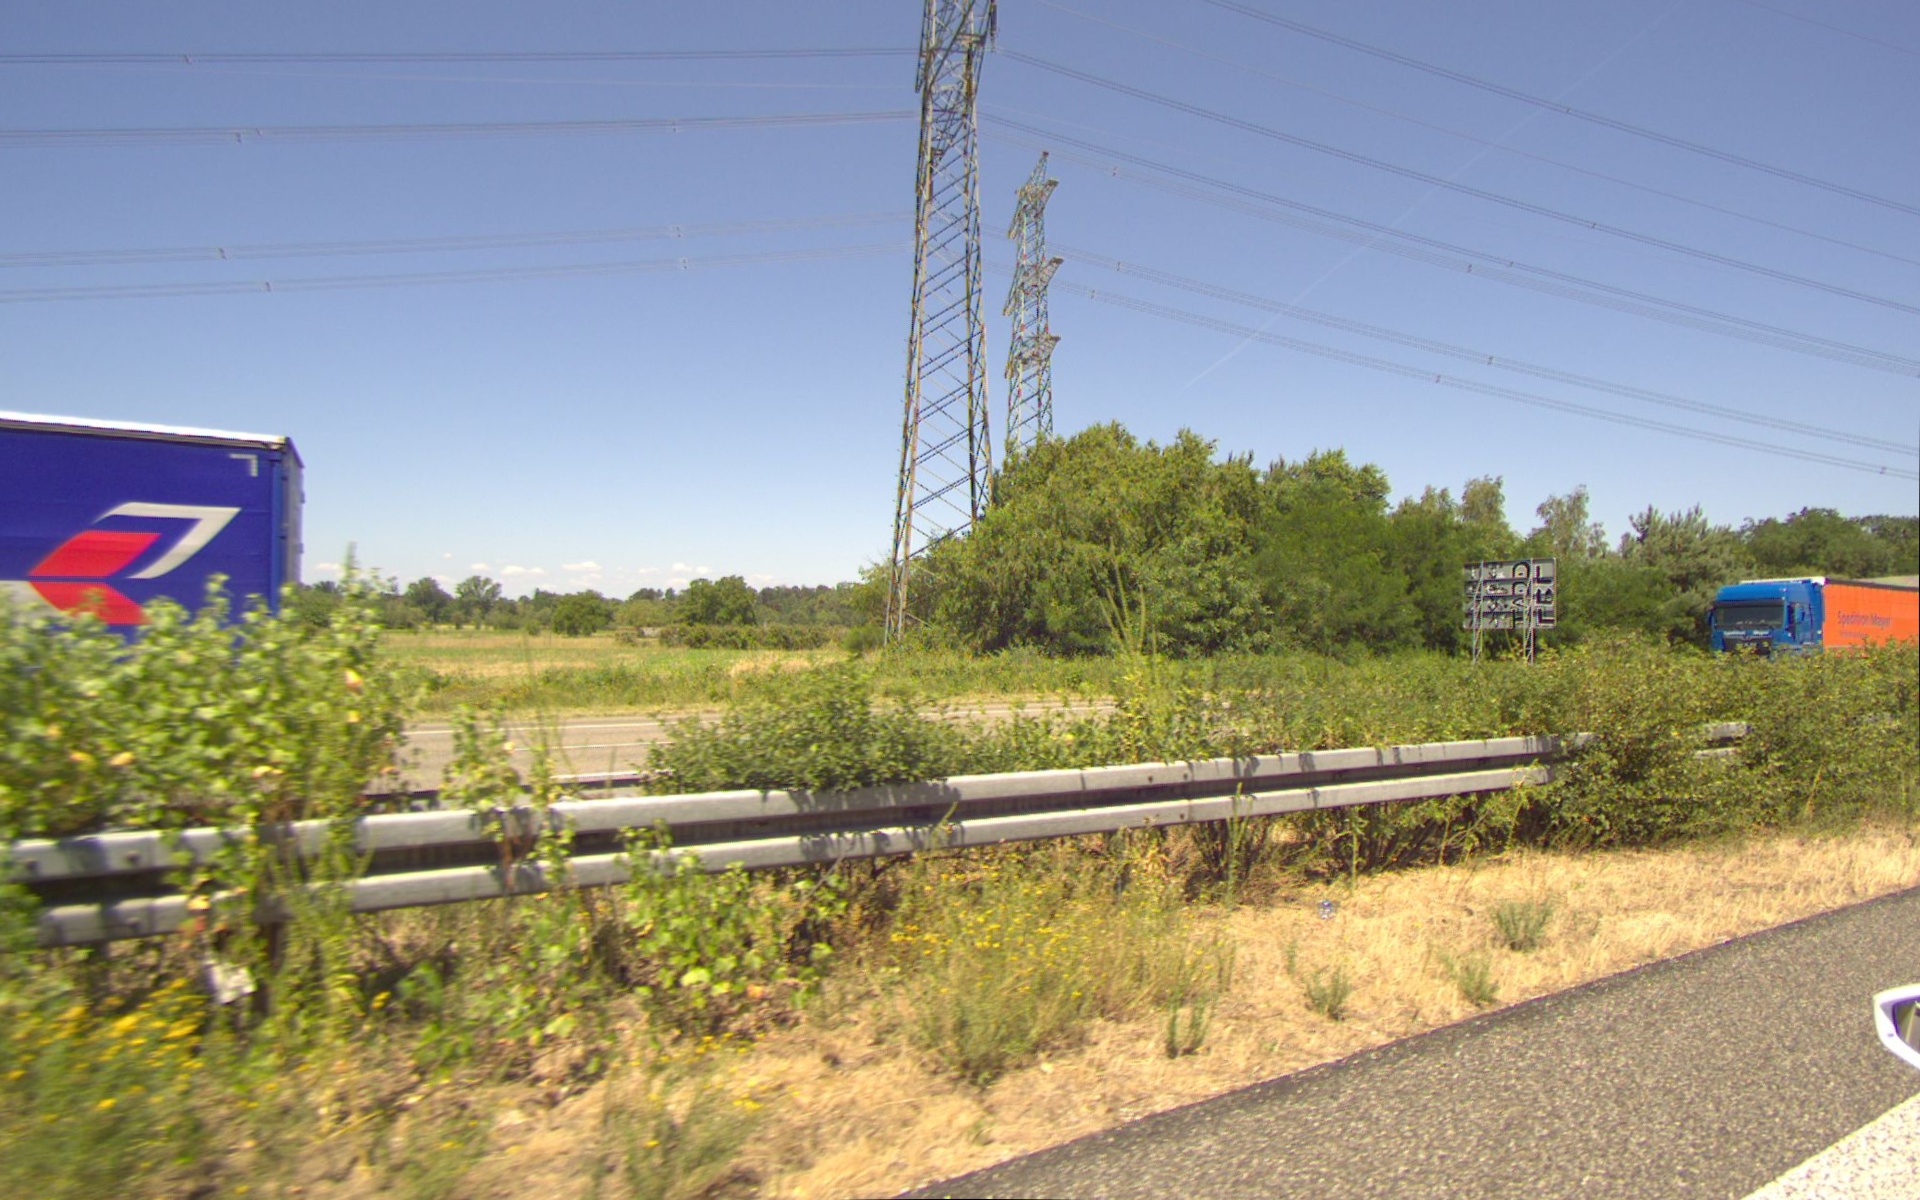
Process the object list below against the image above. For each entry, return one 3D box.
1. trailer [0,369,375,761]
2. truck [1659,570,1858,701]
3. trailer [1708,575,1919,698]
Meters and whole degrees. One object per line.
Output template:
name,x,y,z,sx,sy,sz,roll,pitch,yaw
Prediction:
trailer,-14.611,-0.411,11.004,14.065,4.464,3.074,2,-4,-31
truck,30.062,1.357,37.740,7.881,4.465,3.327,2,-2,-31
trailer,36.165,1.531,41.486,14.001,4.465,3.328,2,-2,-31
